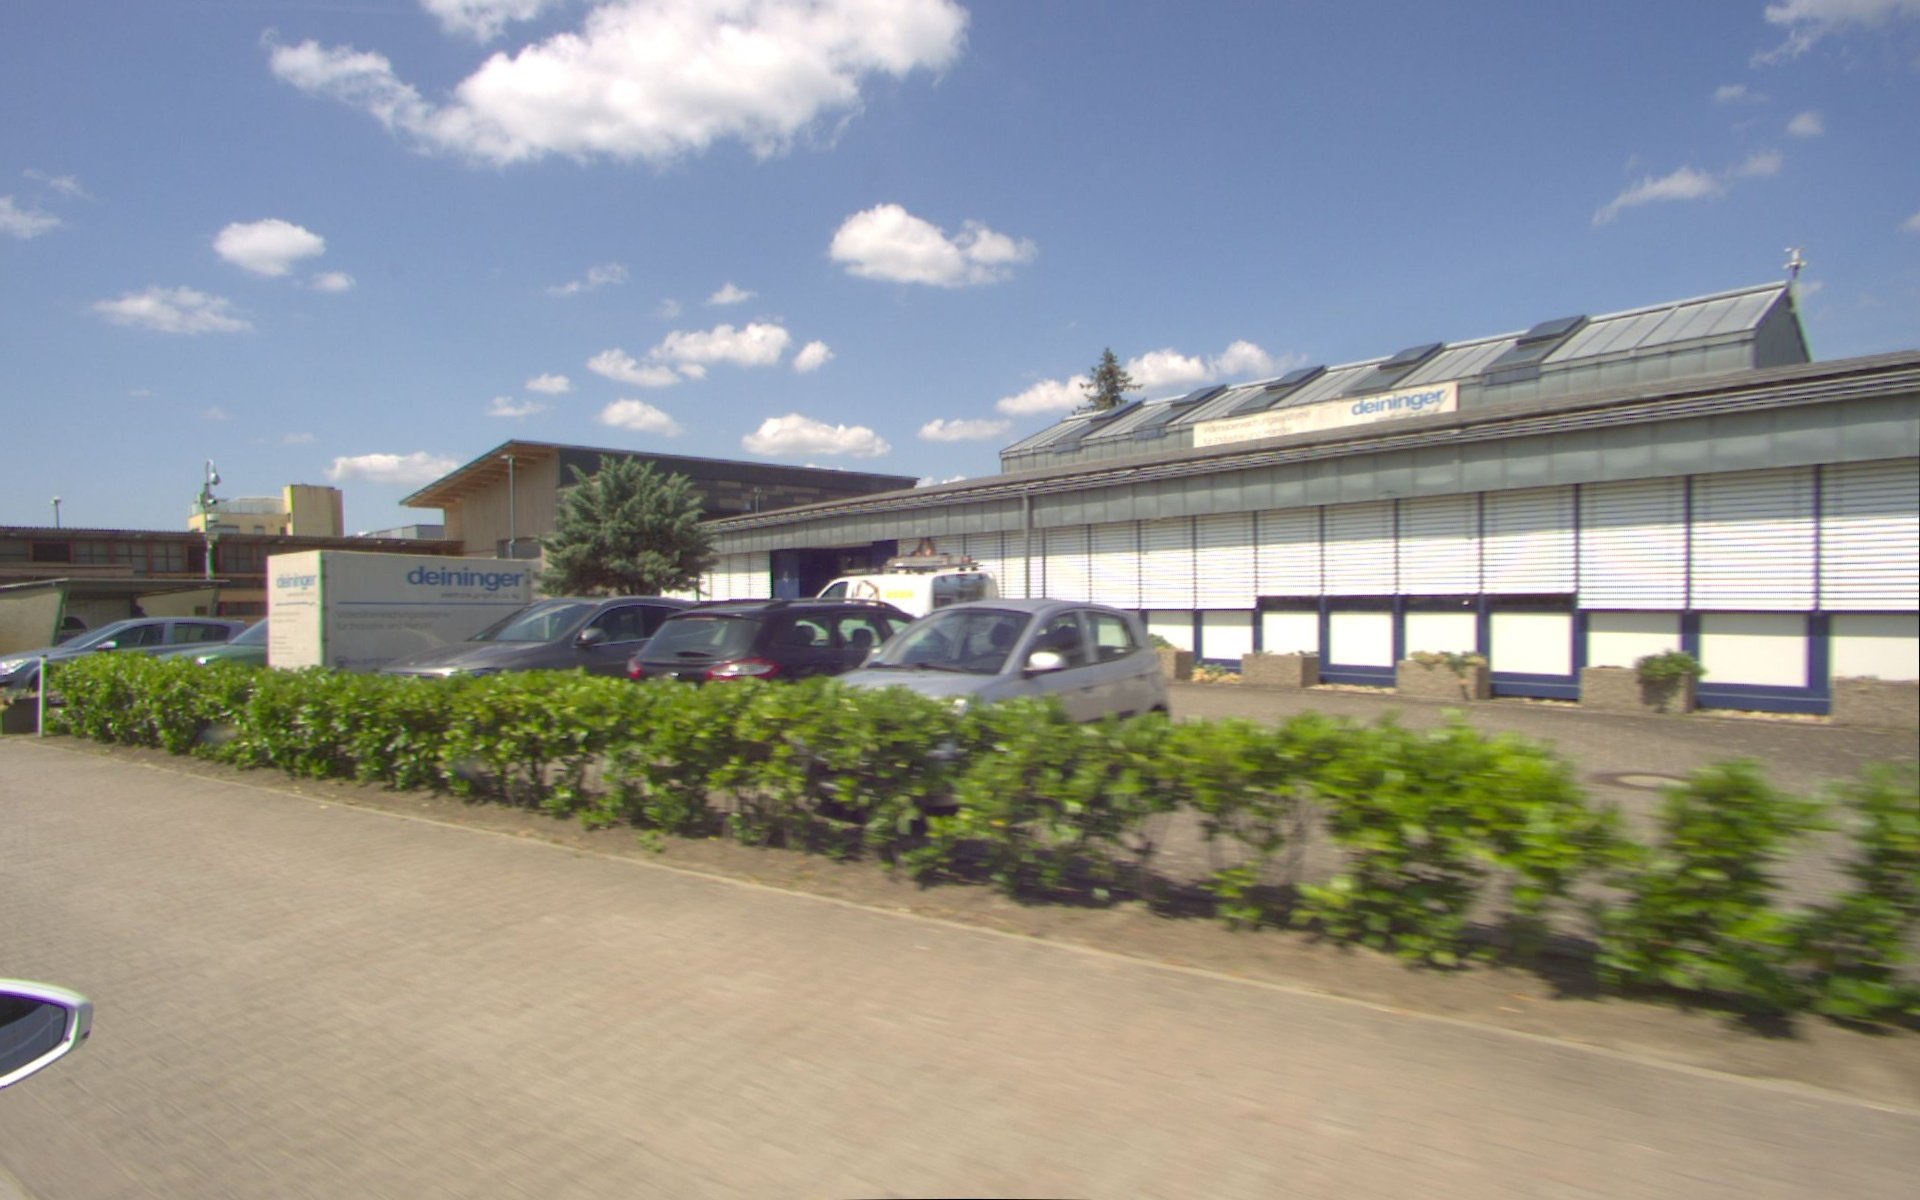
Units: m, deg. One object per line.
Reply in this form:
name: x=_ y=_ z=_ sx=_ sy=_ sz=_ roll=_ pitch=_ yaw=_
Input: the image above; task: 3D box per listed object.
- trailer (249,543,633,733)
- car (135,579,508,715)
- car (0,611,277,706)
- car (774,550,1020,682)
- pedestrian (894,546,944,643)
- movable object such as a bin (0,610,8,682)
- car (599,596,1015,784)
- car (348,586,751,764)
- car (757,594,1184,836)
trailer: x=-6.521 y=0.419 z=12.995 sx=1.972 sy=2.040 sz=3.977 roll=0 pitch=0 yaw=34
car: x=-9.122 y=0.586 z=14.688 sx=1.776 sy=1.655 sz=4.202 roll=-3 pitch=0 yaw=32
car: x=-14.875 y=0.955 z=18.077 sx=1.792 sy=1.475 sz=3.835 roll=0 pitch=0 yaw=34
car: x=-1.304 y=0.269 z=19.087 sx=2.085 sy=2.154 sz=4.670 roll=-5 pitch=3 yaw=-44
pedestrian: x=-0.852 y=-0.107 z=20.867 sx=0.680 sy=1.968 sz=0.714 roll=-2 pitch=1 yaw=32
movable object such as a bin: x=-20.087 y=0.926 z=19.966 sx=1.029 sy=1.477 sz=1.267 roll=0 pitch=0 yaw=-4
car: x=-1.252 y=0.707 z=10.187 sx=1.788 sy=1.459 sz=4.467 roll=0 pitch=0 yaw=30
car: x=-4.391 y=0.706 z=11.388 sx=1.688 sy=1.595 sz=4.028 roll=-3 pitch=0 yaw=28
car: x=0.255 y=0.698 z=7.955 sx=1.747 sy=1.420 sz=3.339 roll=0 pitch=1 yaw=37
